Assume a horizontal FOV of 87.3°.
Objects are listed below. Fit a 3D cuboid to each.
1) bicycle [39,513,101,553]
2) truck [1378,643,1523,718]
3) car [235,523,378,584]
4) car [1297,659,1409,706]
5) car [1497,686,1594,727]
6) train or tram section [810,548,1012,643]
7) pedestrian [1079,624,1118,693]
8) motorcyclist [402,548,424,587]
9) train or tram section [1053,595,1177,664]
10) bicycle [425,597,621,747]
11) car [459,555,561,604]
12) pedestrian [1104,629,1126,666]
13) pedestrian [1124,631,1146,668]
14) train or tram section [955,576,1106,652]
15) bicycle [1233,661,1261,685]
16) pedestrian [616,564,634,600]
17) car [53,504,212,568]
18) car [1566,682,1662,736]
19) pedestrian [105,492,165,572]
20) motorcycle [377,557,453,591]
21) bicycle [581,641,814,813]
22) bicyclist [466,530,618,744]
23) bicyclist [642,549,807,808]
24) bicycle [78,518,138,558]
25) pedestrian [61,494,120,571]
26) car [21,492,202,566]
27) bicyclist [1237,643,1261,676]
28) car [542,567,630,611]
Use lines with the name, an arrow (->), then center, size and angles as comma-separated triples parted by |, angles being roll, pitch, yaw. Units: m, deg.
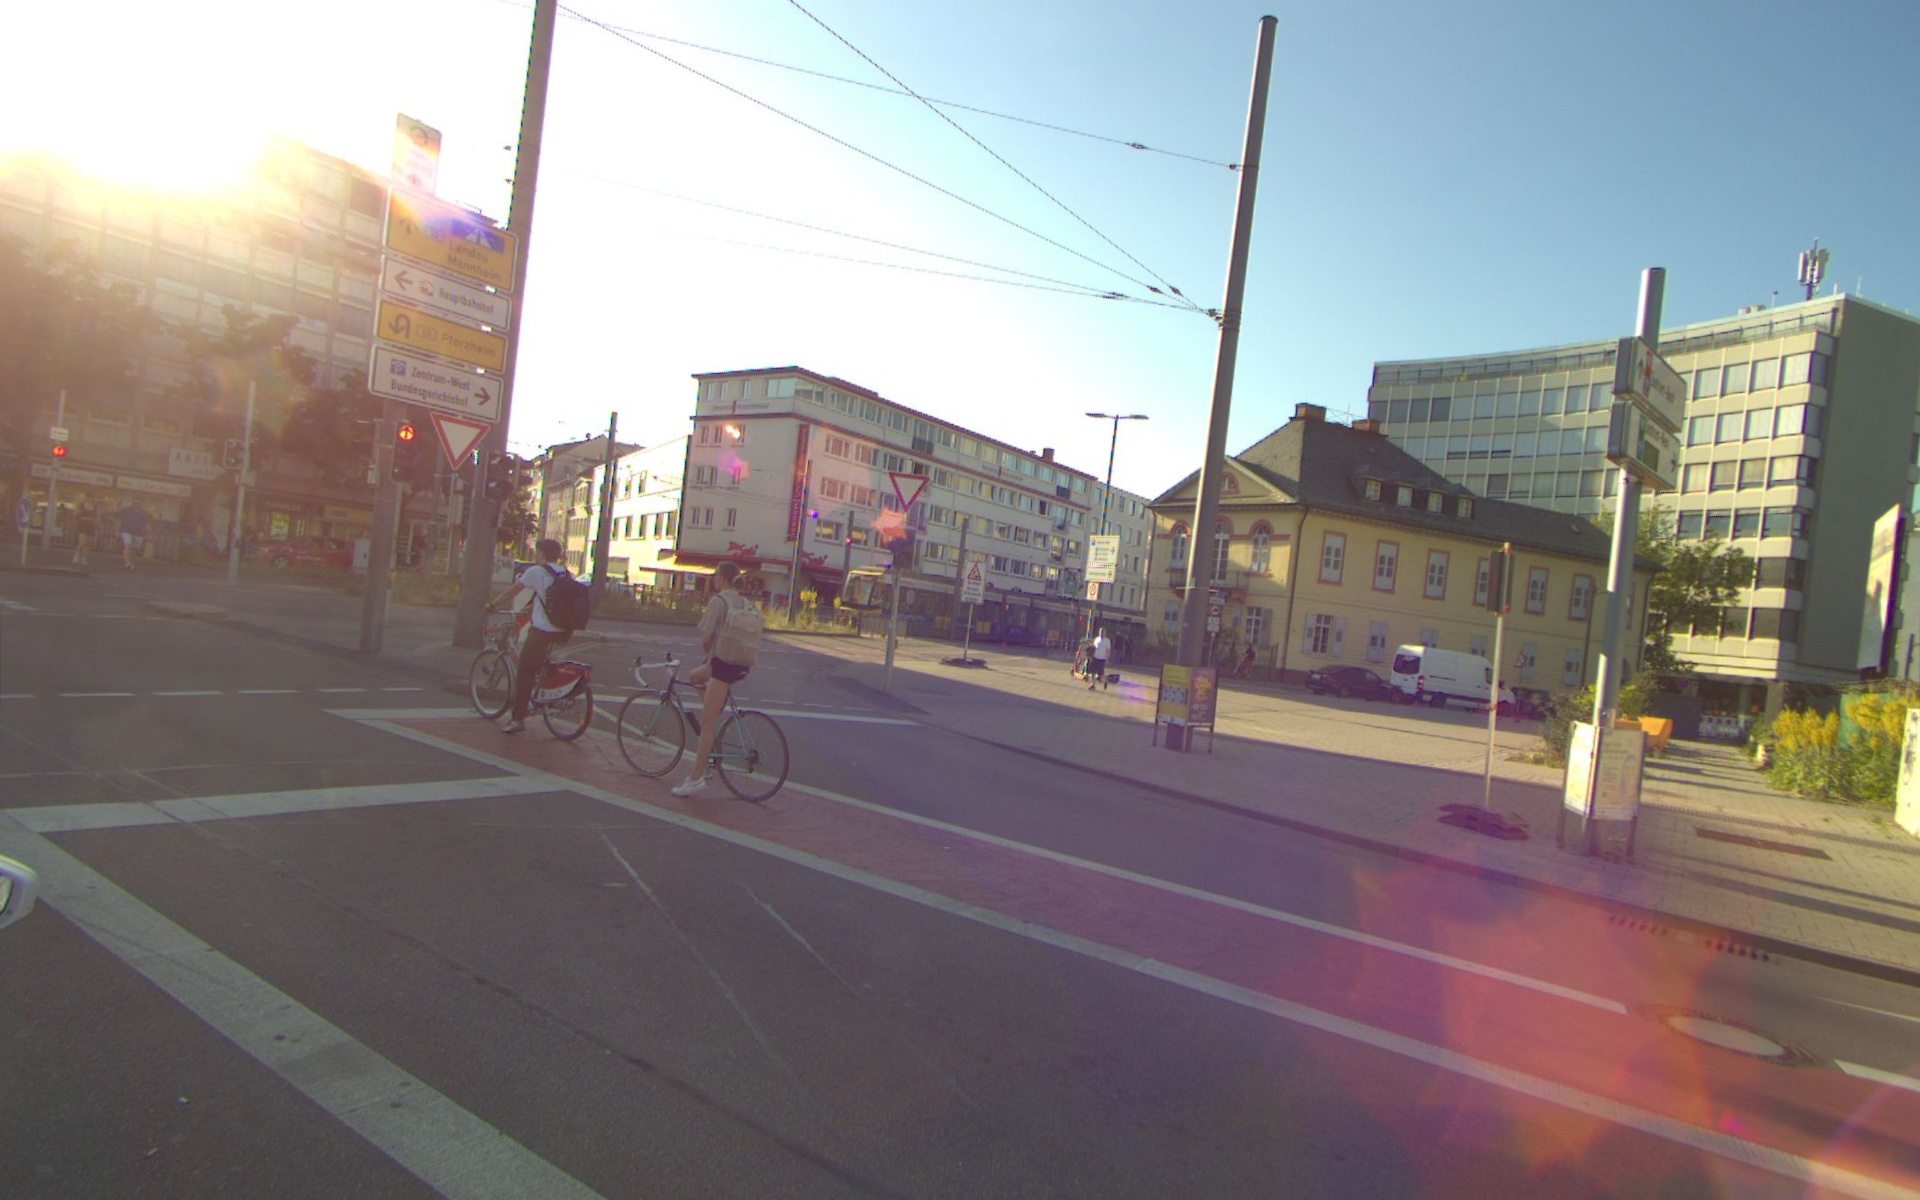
bicycle -> -34.493, -2.597, 38.980 | 2.594, 1.157, 0.751 | 9, 0, 26
truck -> 21.840, 3.574, 44.802 | 5.556, 2.578, 2.294 | 8, -2, -17
car -> -24.465, -1.712, 37.766 | 1.816, 1.636, 3.990 | 6, -2, 36
car -> 16.629, 3.484, 42.588 | 4.133, 1.380, 1.709 | 8, -2, -17
car -> 27.102, 4.921, 46.584 | 3.706, 1.380, 1.709 | 8, -2, -17
train or tram section -> -2.249, -0.030, 55.743 | 3.656, 3.880, 13.326 | 6, -1, 34
pedestrian -> 3.846, 1.629, 27.816 | 0.746, 1.783, 1.009 | 7, -1, 16
motorcyclist -> -22.300, -1.331, 41.016 | 0.527, 1.526, 0.460 | 6, -1, 37
train or tram section -> 12.168, 2.440, 77.163 | 3.658, 3.877, 12.950 | 6, -2, 35
bicycle -> -4.031, 0.640, 9.245 | 1.777, 1.113, 0.543 | 6, -1, 27
car -> -20.025, -0.891, 44.983 | 1.809, 1.636, 4.004 | 7, -2, 18
pedestrian -> 7.405, 2.250, 48.012 | 0.802, 1.661, 0.687 | 7, -1, 15
pedestrian -> 8.385, 2.375, 48.144 | 0.802, 1.661, 0.687 | 7, -1, 12
train or tram section -> 4.991, 1.095, 66.597 | 3.657, 3.880, 12.943 | 6, -1, 34
bicycle -> 13.626, 3.477, 47.780 | 0.712, 0.959, 1.989 | 6, -2, 31
pedestrian -> -19.663, -1.040, 58.996 | 0.621, 2.037, 0.709 | 8, -1, -33
car -> -30.305, -2.317, 36.943 | 1.816, 1.636, 4.071 | 6, -2, 36
car -> 31.160, 5.197, 47.972 | 3.706, 2.003, 1.709 | 8, -2, -17
pedestrian -> -20.320, -1.681, 24.776 | 1.025, 1.814, 0.696 | 6, -1, 34
motorcycle -> -22.251, -1.062, 41.115 | 0.527, 1.013, 2.664 | 6, -2, 36
bicycle -> -2.006, 0.924, 7.626 | 1.664, 1.013, 0.543 | 6, -1, 27
bicyclist -> -3.809, 0.326, 9.171 | 1.042, 1.789, 0.543 | 7, -1, 27
bicyclist -> -1.741, 0.568, 7.479 | 0.778, 1.766, 0.615 | 7, -1, 27
bicycle -> -33.915, -2.470, 40.024 | 2.594, 1.157, 0.751 | 9, 0, 26
pedestrian -> -20.739, -1.618, 23.986 | 1.026, 1.702, 0.696 | 6, -1, 36
car -> -26.903, -2.234, 32.011 | 1.816, 1.636, 3.990 | 6, -2, 36
bicyclist -> 13.762, 2.846, 47.899 | 0.712, 1.474, 0.897 | 6, -1, 31
car -> -18.549, -0.523, 50.081 | 1.810, 1.636, 4.003 | 7, -2, 20
